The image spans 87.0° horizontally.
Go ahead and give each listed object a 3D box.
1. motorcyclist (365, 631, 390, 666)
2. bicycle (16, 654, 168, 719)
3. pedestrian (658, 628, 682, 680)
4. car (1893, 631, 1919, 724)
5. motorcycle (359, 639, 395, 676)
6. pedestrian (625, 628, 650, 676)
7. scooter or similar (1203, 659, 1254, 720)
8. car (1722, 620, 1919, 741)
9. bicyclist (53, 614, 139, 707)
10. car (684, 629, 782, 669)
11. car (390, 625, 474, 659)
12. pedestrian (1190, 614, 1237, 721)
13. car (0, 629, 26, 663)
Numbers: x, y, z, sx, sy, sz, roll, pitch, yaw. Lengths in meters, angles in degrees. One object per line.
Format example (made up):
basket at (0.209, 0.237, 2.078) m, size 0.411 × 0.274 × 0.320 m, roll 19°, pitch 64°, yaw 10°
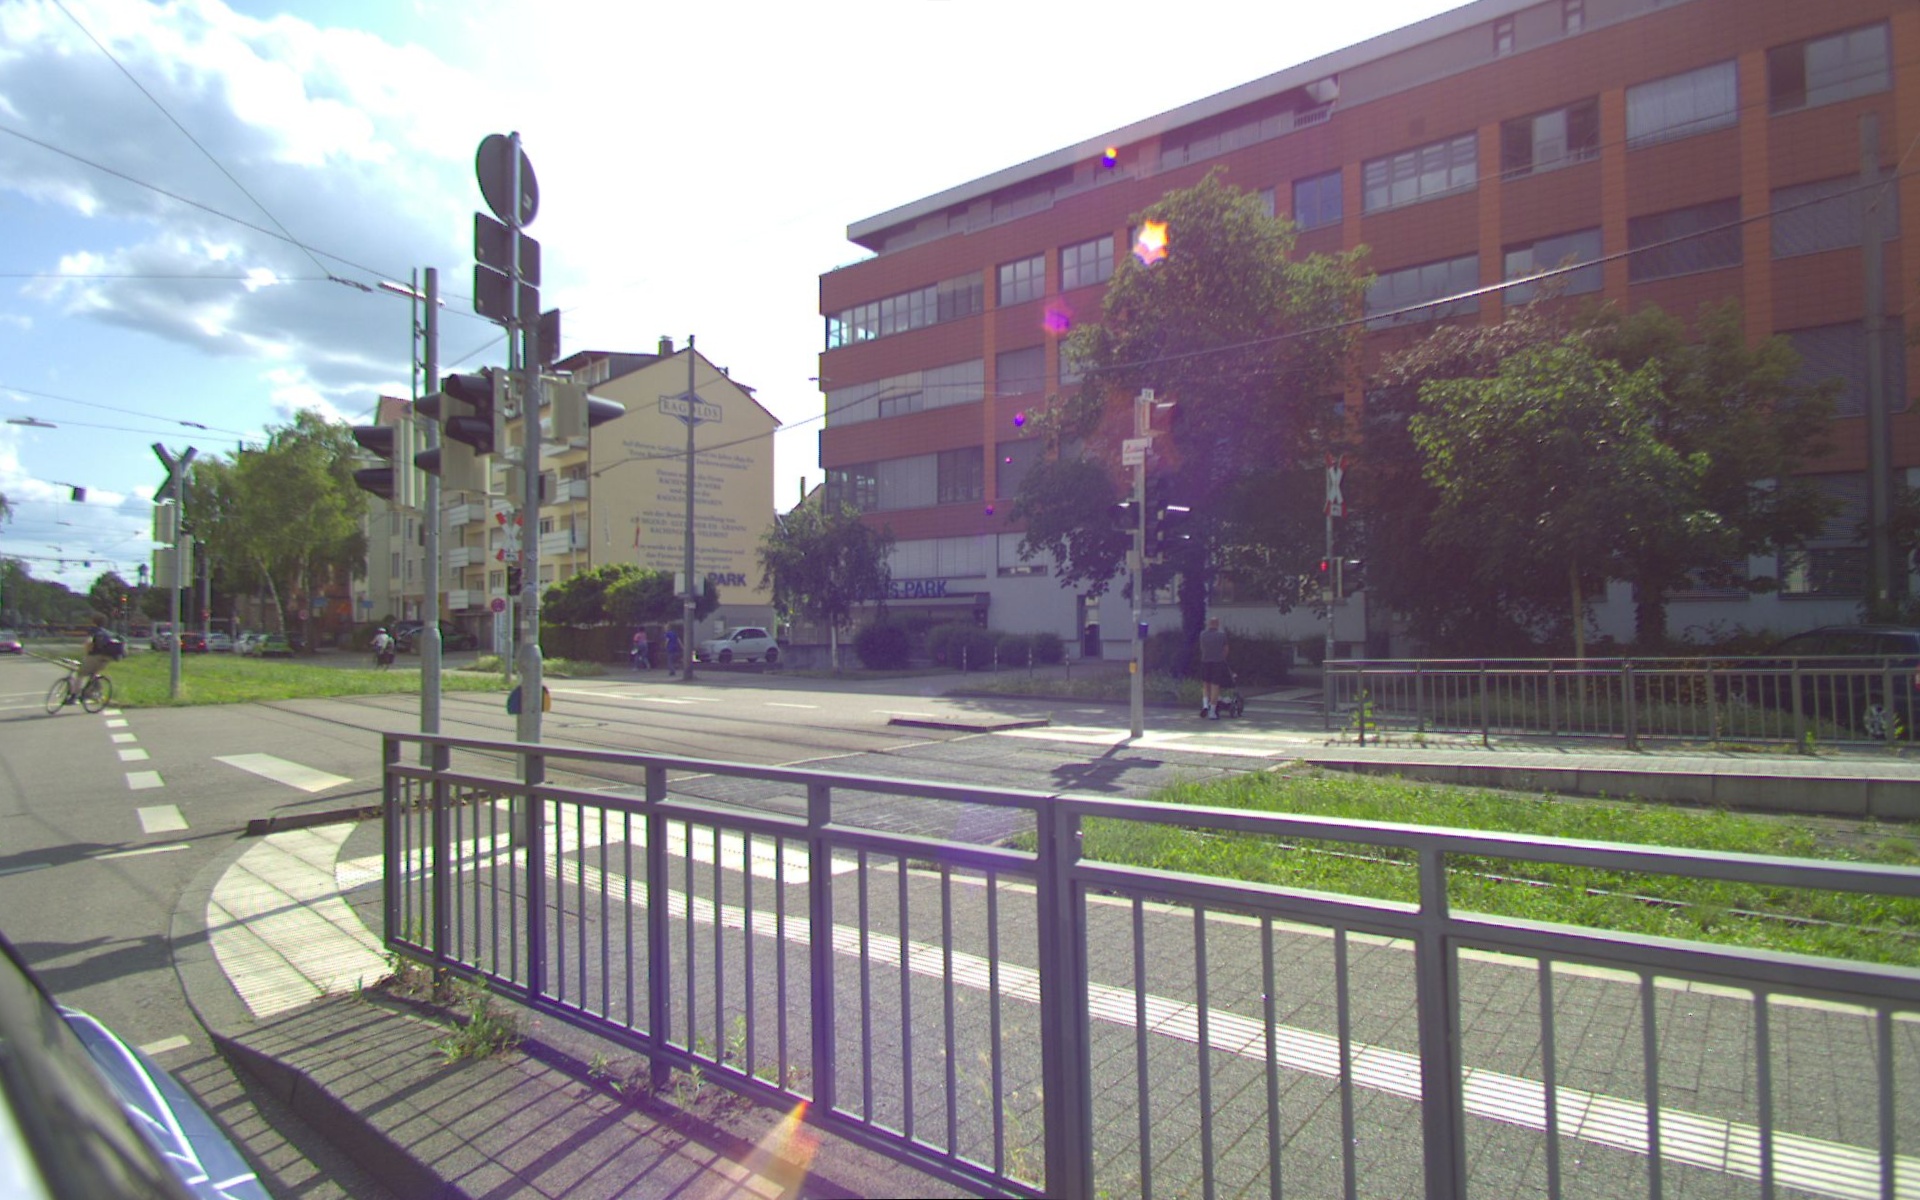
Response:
motorcyclist at (-23.565, 1.957, 40.946) m, size 0.693 × 1.368 × 0.655 m, roll -1°, pitch 0°, yaw 41°
bicycle at (-16.614, 1.650, 19.381) m, size 2.542 × 1.112 × 0.770 m, roll -3°, pitch -2°, yaw 10°
pedestrian at (-9.775, 1.817, 34.137) m, size 0.480 × 1.723 × 0.641 m, roll -2°, pitch -3°, yaw 39°
car at (16.408, 1.206, 14.907) m, size 1.628 × 1.508 × 3.998 m, roll 0°, pitch -2°, yaw 1°
motorcycle at (-23.612, 2.311, 40.983) m, size 2.009 × 1.414 × 0.626 m, roll -1°, pitch 0°, yaw 41°
pedestrian at (-11.805, 1.895, 37.027) m, size 0.588 × 1.723 × 0.641 m, roll -2°, pitch -3°, yaw 40°
scooter or similar at (4.860, 1.602, 18.282) m, size 0.618 × 1.063 × 0.977 m, roll -2°, pitch -4°, yaw 33°
car at (14.165, 1.158, 15.602) m, size 1.849 × 1.671 × 3.843 m, roll 0°, pitch -2°, yaw -1°
bicyclist at (-16.526, 1.138, 19.367) m, size 0.940 × 1.686 × 0.770 m, roll -4°, pitch -1°, yaw 9°
car at (-9.340, 2.005, 41.753) m, size 3.559 × 1.491 × 1.776 m, roll 2°, pitch -6°, yaw -45°
car at (-32.496, 2.579, 62.318) m, size 4.197 × 2.029 × 2.002 m, roll 1°, pitch -3°, yaw -42°
pedestrian at (4.402, 1.164, 17.561) m, size 0.618 × 1.807 × 0.652 m, roll -2°, pitch -4°, yaw 33°
car at (-61.215, 2.924, 64.779) m, size 1.971 × 2.029 × 4.003 m, roll -1°, pitch 0°, yaw -45°
